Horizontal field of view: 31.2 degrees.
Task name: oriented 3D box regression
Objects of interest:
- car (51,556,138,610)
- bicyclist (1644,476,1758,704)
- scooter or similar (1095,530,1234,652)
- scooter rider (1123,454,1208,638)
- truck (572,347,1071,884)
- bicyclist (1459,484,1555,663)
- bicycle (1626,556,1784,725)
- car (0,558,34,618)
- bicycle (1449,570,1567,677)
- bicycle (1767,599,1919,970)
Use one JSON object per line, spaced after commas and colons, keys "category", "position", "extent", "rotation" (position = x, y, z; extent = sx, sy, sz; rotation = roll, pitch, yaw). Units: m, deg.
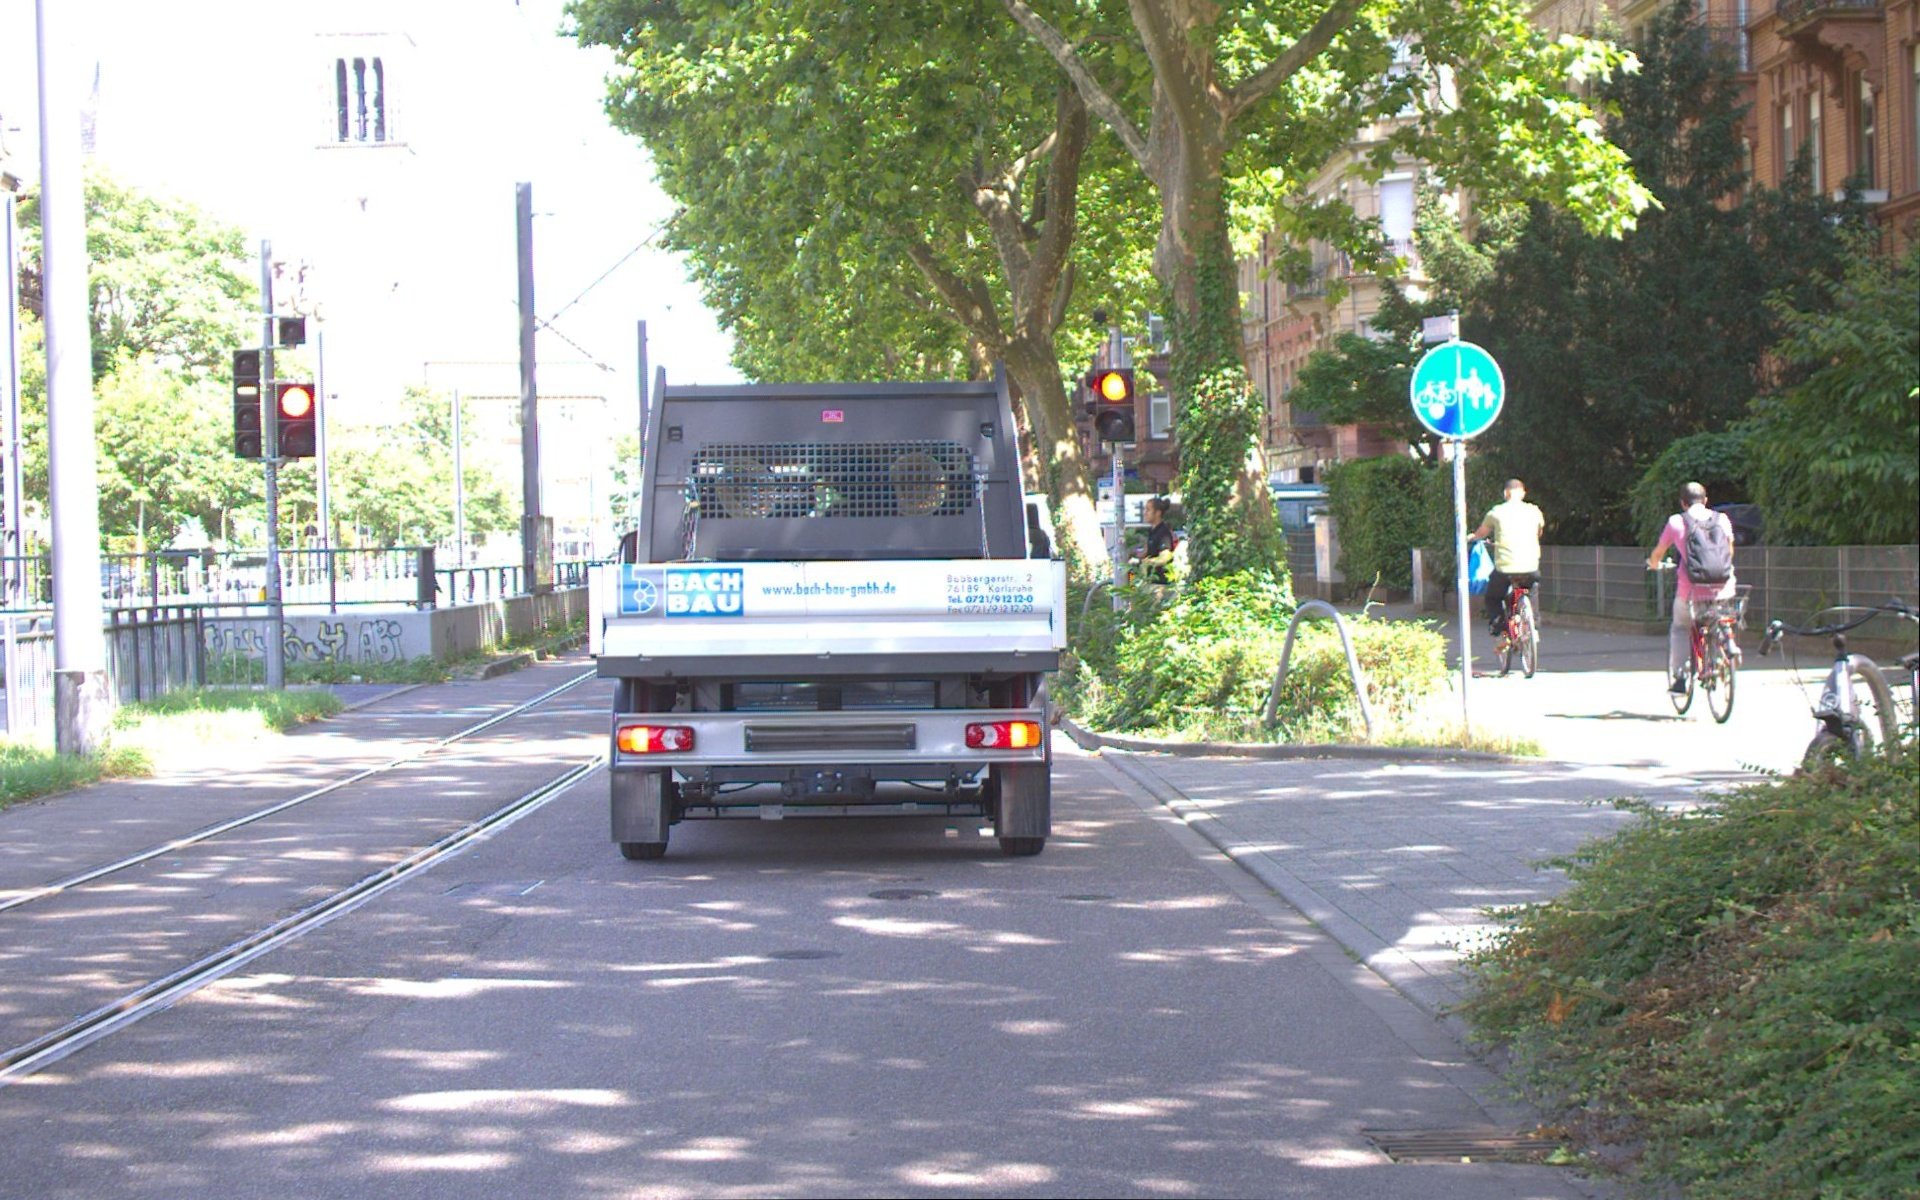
{"category": "car", "position": [-25.726, -0.520, 102.295], "extent": [1.770, 1.493, 4.001], "rotation": [-1, 1, -3]}
{"category": "bicyclist", "position": [5.203, -0.074, 24.156], "extent": [0.638, 1.568, 0.579], "rotation": [-1, 1, 0]}
{"category": "scooter or similar", "position": [2.099, -0.100, 35.354], "extent": [1.266, 1.200, 0.657], "rotation": [-2, 1, -13]}
{"category": "scooter rider", "position": [2.115, -0.558, 35.354], "extent": [0.666, 1.860, 0.664], "rotation": [-2, 1, -13]}
{"category": "truck", "position": [-0.675, 0.030, 17.074], "extent": [2.138, 2.311, 4.402], "rotation": [0, 1, -2]}
{"category": "bicyclist", "position": [4.877, -0.239, 30.691], "extent": [0.680, 1.558, 0.777], "rotation": [-2, 1, -1]}
{"category": "bicycle", "position": [5.250, 0.257, 24.350], "extent": [0.565, 1.108, 2.310], "rotation": [-1, 1, -1]}
{"category": "car", "position": [-25.123, -0.298, 88.767], "extent": [1.770, 1.493, 4.001], "rotation": [-2, 1, -8]}
{"category": "bicycle", "position": [4.893, 0.194, 30.817], "extent": [0.675, 0.878, 2.163], "rotation": [-2, 1, -1]}
{"category": "bicycle", "position": [3.107, 0.568, 11.374], "extent": [0.421, 1.101, 1.614], "rotation": [-1, 1, 28]}
